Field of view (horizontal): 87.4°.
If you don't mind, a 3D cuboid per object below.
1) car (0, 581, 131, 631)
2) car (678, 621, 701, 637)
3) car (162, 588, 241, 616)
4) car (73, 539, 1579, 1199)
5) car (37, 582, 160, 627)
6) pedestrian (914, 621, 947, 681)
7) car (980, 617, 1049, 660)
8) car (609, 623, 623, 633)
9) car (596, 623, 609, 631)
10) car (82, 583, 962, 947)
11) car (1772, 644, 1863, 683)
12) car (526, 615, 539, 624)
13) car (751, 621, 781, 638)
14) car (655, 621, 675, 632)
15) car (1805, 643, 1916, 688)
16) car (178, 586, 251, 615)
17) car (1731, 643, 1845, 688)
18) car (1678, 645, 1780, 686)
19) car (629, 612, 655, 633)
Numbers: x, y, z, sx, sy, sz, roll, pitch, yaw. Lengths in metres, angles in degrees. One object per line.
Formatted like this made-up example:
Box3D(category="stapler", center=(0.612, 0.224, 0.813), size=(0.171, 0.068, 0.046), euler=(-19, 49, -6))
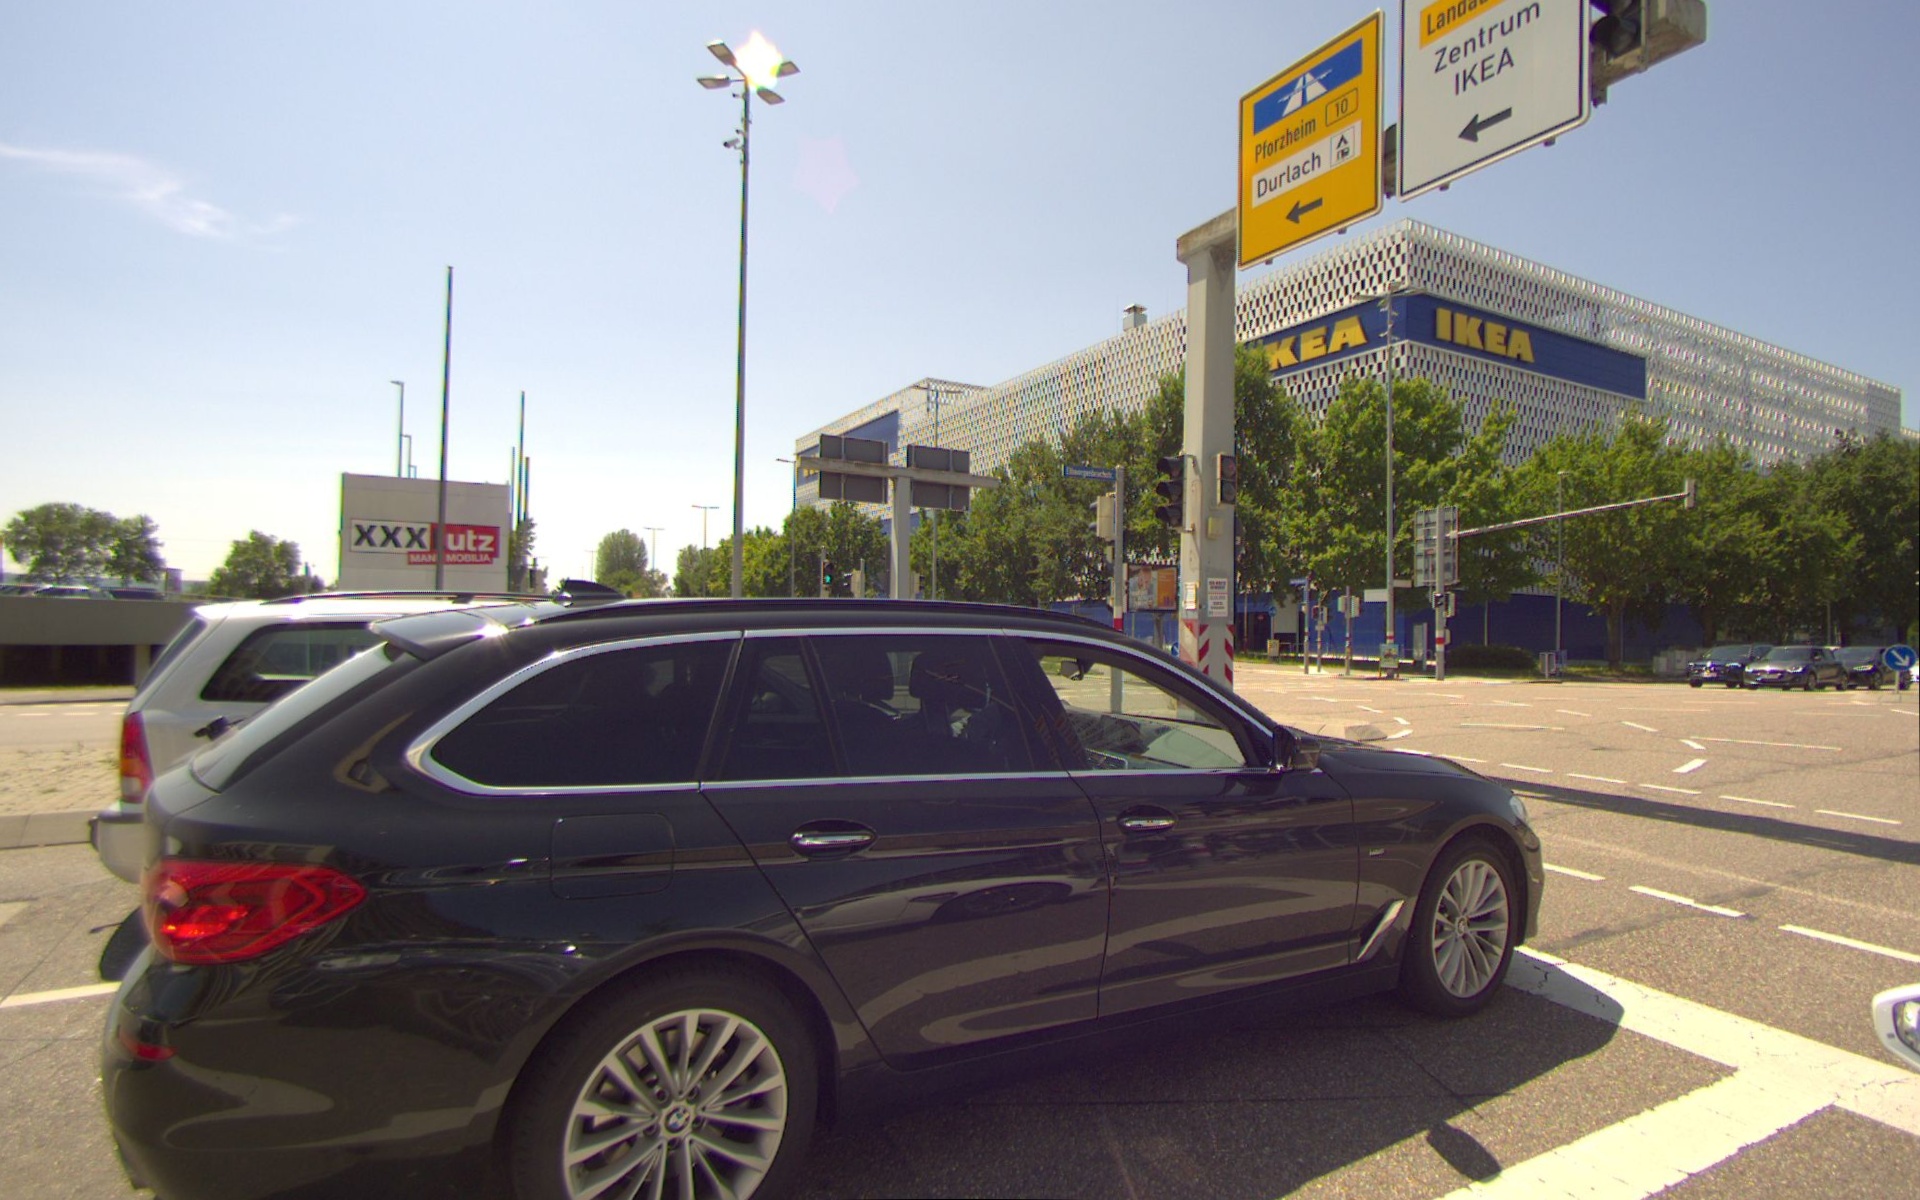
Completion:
Box3D(category="car", center=(-39.561, 0.291, 44.328), size=(4.284, 2.040, 1.982), euler=(2, -2, -34))
Box3D(category="car", center=(-33.916, 3.609, 125.901), size=(1.944, 1.903, 3.860), euler=(2, -2, -29))
Box3D(category="car", center=(-52.118, 0.169, 69.137), size=(4.086, 1.764, 1.770), euler=(2, -2, -30))
Box3D(category="car", center=(0.062, 0.702, 3.550), size=(4.505, 1.459, 1.788), euler=(2, -1, -31))
Box3D(category="car", center=(-42.130, 0.265, 49.277), size=(4.285, 2.040, 1.981), euler=(2, -2, -34))
Box3D(category="pedestrian", center=(-0.905, 1.567, 31.007), size=(0.816, 1.807, 0.601), euler=(2, -2, -27))
Box3D(category="car", center=(2.657, 1.885, 49.445), size=(1.750, 2.040, 3.813), euler=(1, -2, -26))
Box3D(category="car", center=(-55.438, 4.546, 161.838), size=(1.608, 1.629, 3.471), euler=(2, -2, -29))
Box3D(category="car", center=(-60.651, 4.549, 170.345), size=(1.608, 1.368, 3.472), euler=(2, -2, -29))
Box3D(category="car", center=(-2.127, 0.683, 5.678), size=(3.959, 1.441, 1.685), euler=(1, 0, -29))
Box3D(category="car", center=(35.630, 2.647, 41.735), size=(3.870, 1.564, 1.718), euler=(3, -3, -31))
Box3D(category="car", center=(-81.830, 3.748, 192.271), size=(1.836, 1.528, 3.971), euler=(2, -2, -28))
Box3D(category="car", center=(-21.075, 3.173, 109.041), size=(2.031, 1.769, 3.860), euler=(2, -2, -29))
Box3D(category="car", center=(-42.464, 3.831, 144.693), size=(1.976, 1.572, 3.970), euler=(2, -2, -29))
Box3D(category="car", center=(32.425, 2.369, 36.145), size=(4.193, 1.524, 1.719), euler=(3, -4, -30))
Box3D(category="car", center=(-57.633, 0.062, 77.735), size=(4.278, 2.040, 1.985), euler=(2, -2, -30))
Box3D(category="car", center=(27.084, 2.163, 32.843), size=(3.671, 1.407, 1.637), euler=(3, -4, -30))
Box3D(category="car", center=(28.692, 2.447, 37.468), size=(3.992, 1.442, 1.653), euler=(3, -3, -31))
Box3D(category="car", center=(-33.856, 2.374, 106.788), size=(1.973, 2.212, 5.019), euler=(1, -2, -25))
